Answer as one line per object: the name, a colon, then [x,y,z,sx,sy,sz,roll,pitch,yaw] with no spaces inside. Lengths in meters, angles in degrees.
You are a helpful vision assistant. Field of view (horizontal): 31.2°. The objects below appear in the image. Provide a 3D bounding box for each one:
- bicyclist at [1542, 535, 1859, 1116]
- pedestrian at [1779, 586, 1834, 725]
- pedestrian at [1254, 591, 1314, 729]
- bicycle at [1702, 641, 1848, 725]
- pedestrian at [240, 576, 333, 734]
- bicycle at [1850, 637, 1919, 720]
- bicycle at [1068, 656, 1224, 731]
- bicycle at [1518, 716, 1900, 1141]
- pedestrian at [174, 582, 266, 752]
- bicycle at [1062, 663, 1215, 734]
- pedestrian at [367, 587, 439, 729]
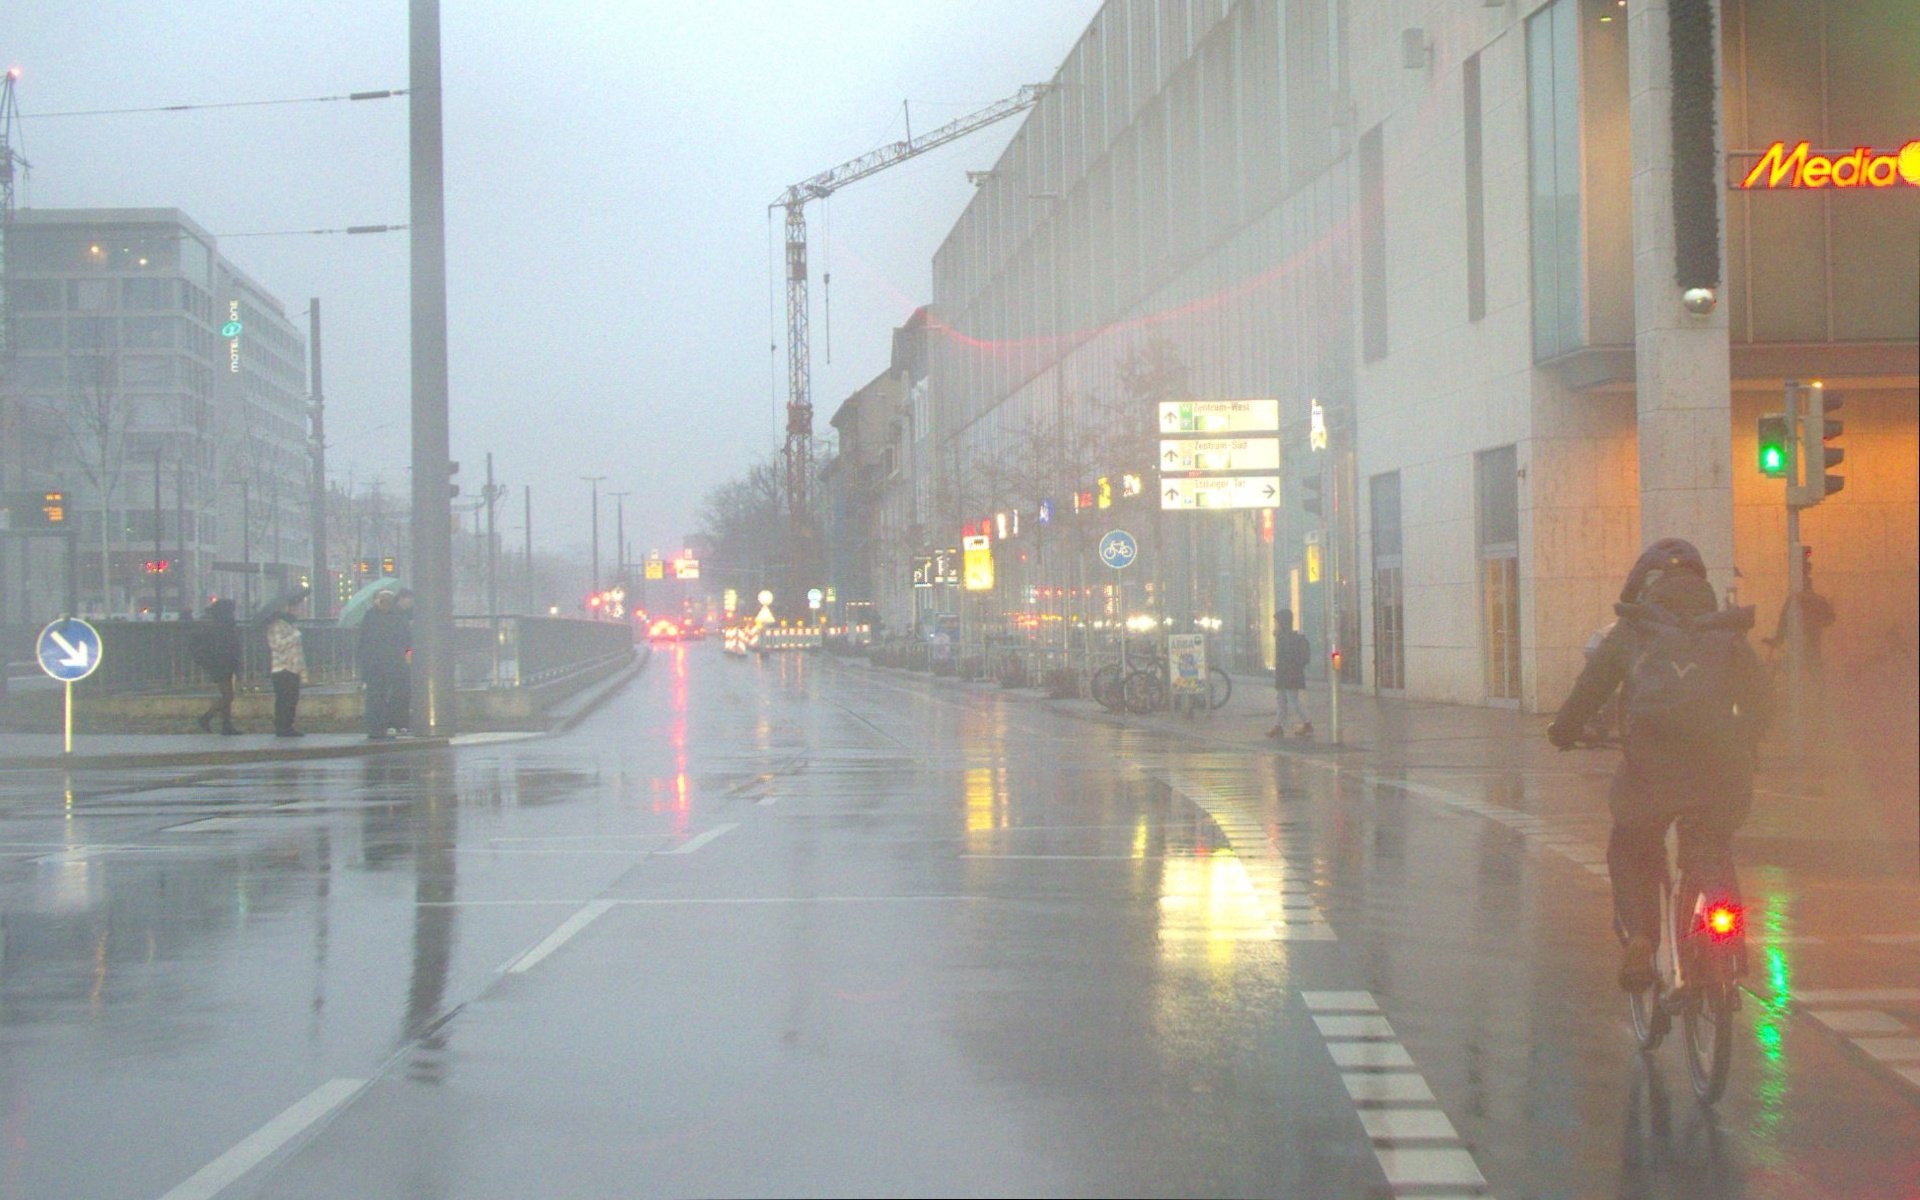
bicyclist: [2.204,0.643,10.334,0.702,1.654,0.964,-1,0,-1]
pedestrian: [10.724,0.703,43.566,0.600,1.739,0.524,1,-1,7]
pedestrian: [4.035,0.746,42.866,0.636,1.703,0.573,-1,-1,-2]
bicycle: [10.565,1.072,44.599,1.767,1.066,0.525,1,-1,-9]
pedestrian: [-7.882,0.644,40.203,0.821,1.825,0.786,1,-1,-32]
bicycle: [12.482,1.026,44.758,1.646,1.066,0.525,1,-1,-5]
bicycle: [3.001,1.510,55.496,2.442,1.150,0.674,-1,-1,-2]
bicycle: [2.199,0.929,10.321,0.708,1.090,1.784,0,0,-2]
pedestrian: [-8.828,0.789,41.014,0.785,2.007,0.726,0,-1,41]
bicycle: [2.918,1.613,56.248,2.425,1.095,0.712,-1,-1,-3]
pedestrian: [-6.668,0.694,41.179,0.612,1.680,0.577,0,-1,41]
